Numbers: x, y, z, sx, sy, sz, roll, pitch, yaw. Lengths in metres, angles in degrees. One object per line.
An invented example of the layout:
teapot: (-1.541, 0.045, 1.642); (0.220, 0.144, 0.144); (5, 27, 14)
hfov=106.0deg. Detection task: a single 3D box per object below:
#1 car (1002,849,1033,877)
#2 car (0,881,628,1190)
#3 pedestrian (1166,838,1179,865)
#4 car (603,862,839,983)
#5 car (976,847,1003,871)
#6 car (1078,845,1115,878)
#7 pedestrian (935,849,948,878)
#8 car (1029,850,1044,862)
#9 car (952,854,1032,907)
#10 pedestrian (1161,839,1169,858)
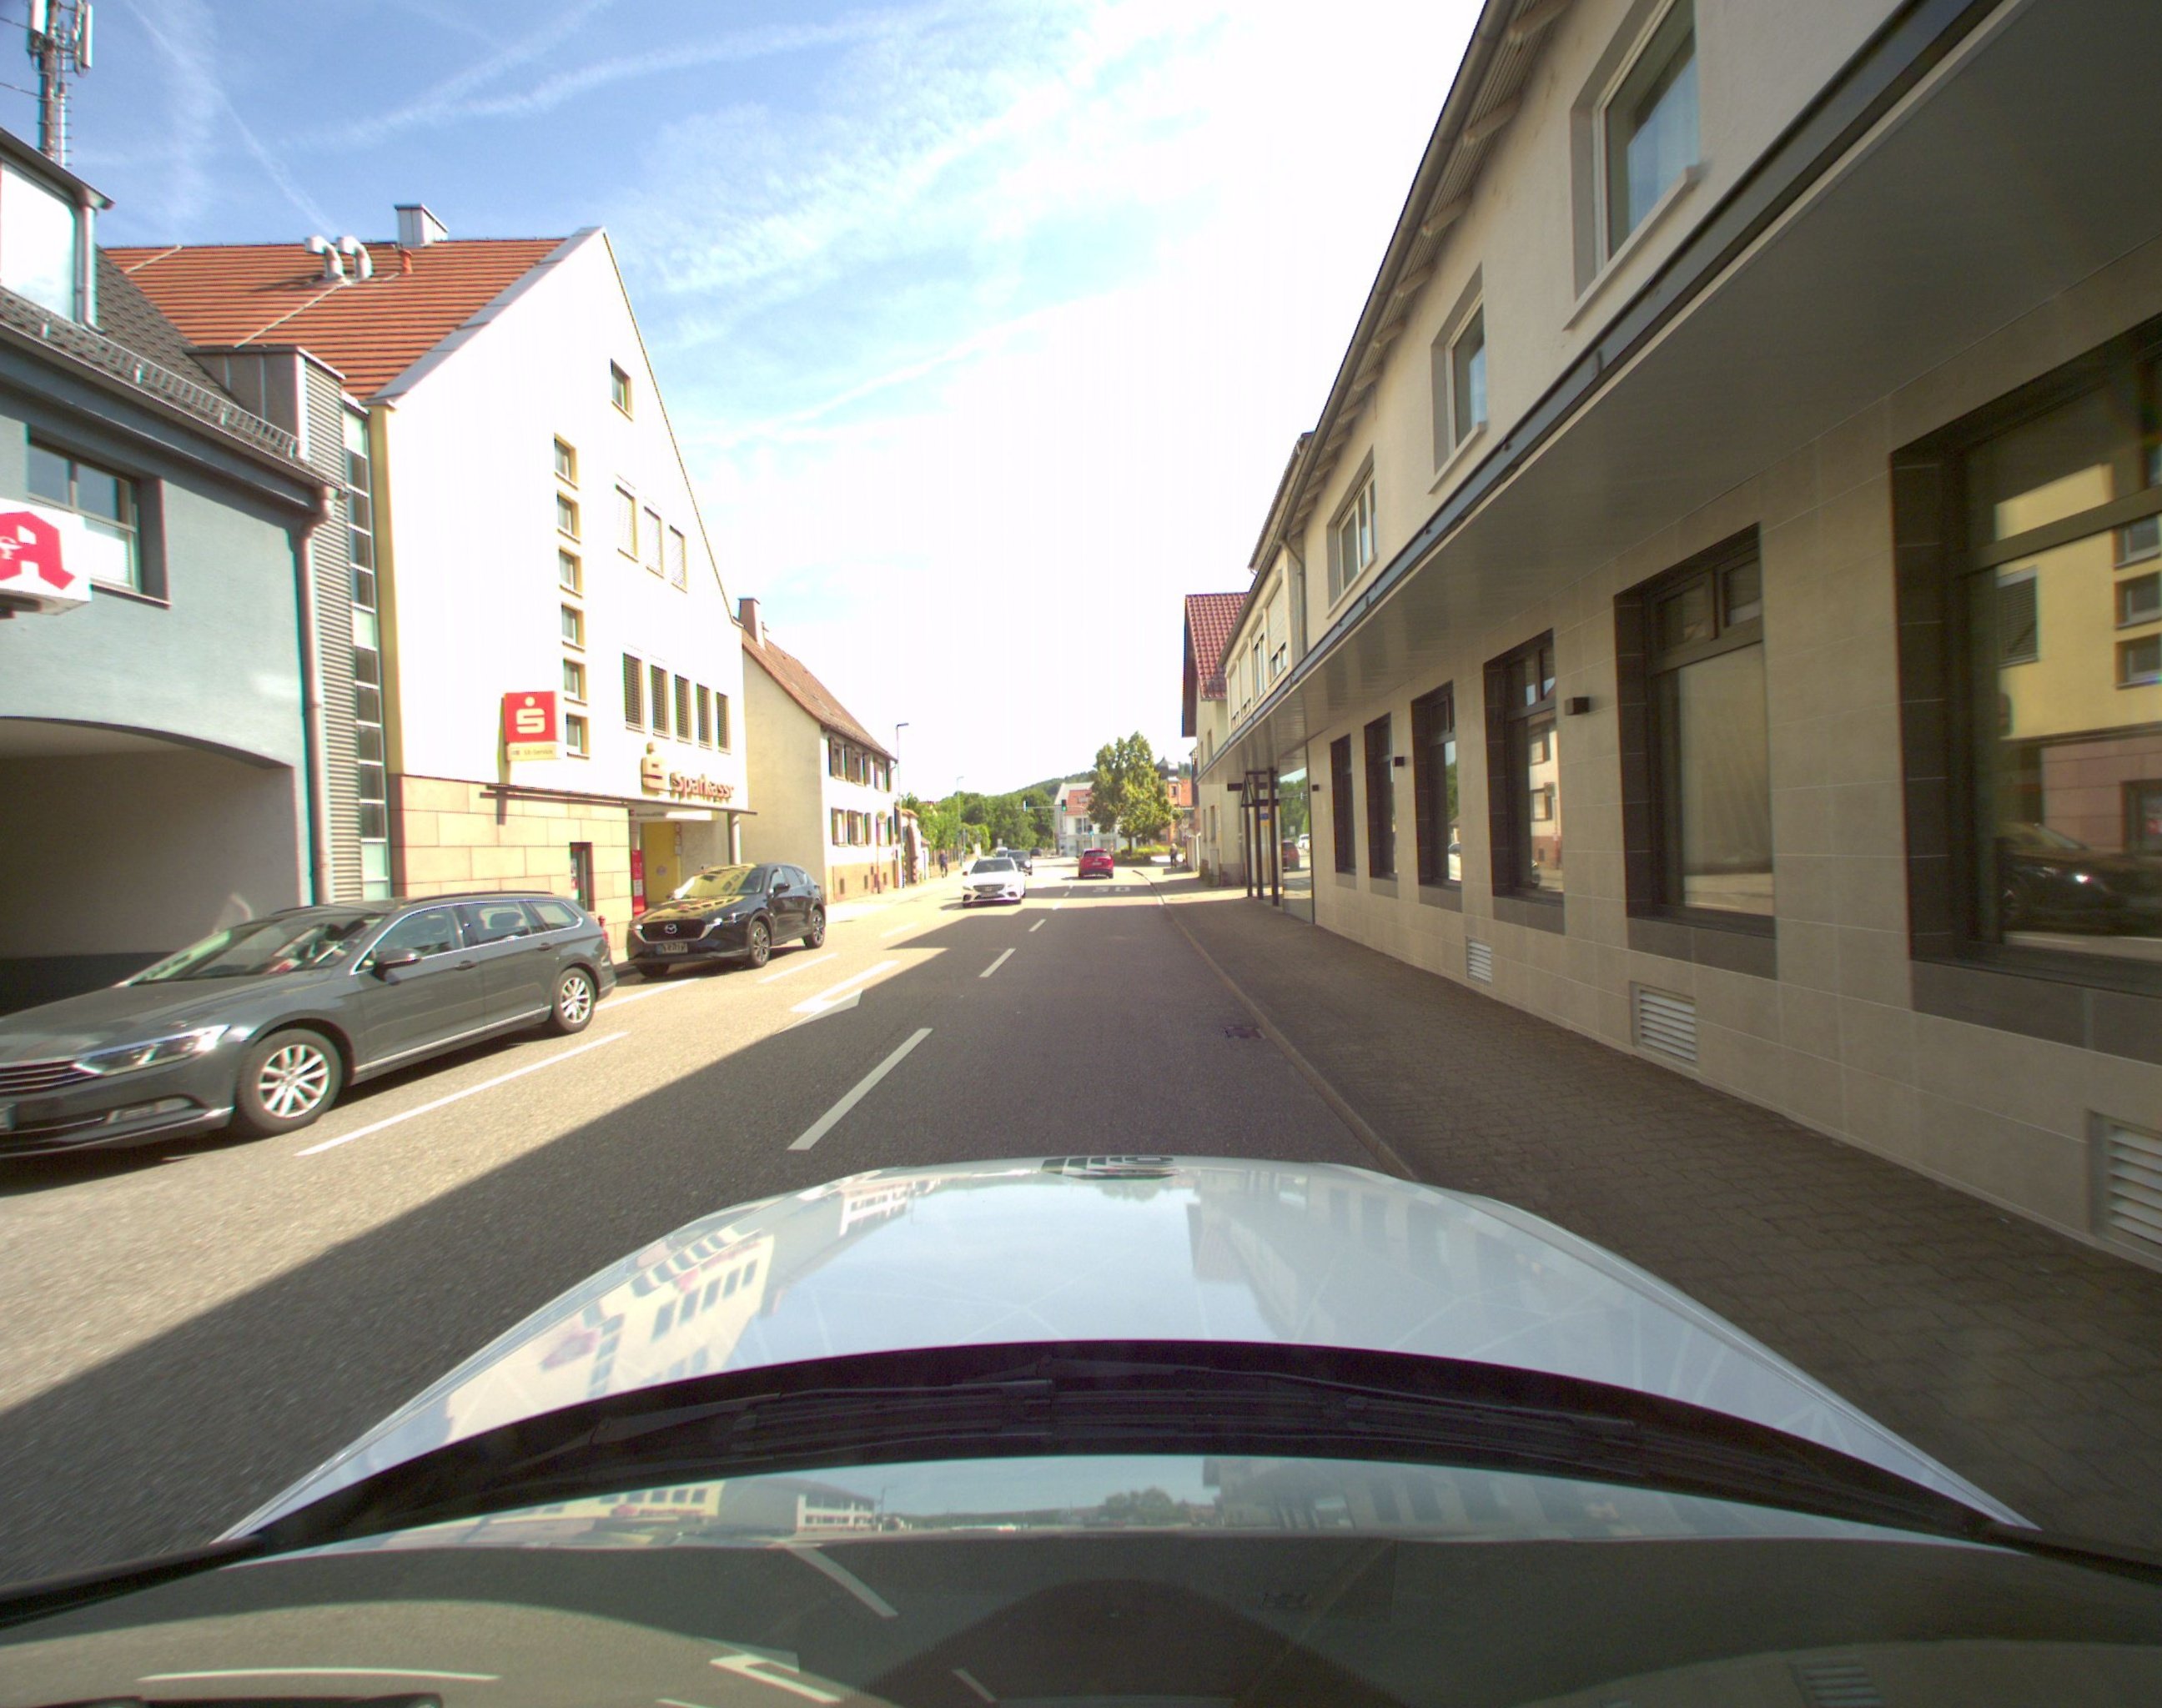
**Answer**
car: (-4.095, 0.544, 52.508); (1.836, 1.533, 4.246); (-3, 2, -5)
car: (-5.827, 1.066, 6.505); (1.783, 1.450, 4.424); (-4, 0, 1)
pedestrian: (6.058, -0.154, 53.705); (0.641, 1.707, 0.699); (-3, -2, -5)
car: (-5.834, 1.007, 13.926); (1.861, 1.589, 4.518); (-4, 0, 1)
car: (-7.681, 0.443, 68.607); (1.769, 1.785, 3.838); (-3, -2, 0)
car: (0.917, 0.401, 45.033); (1.851, 1.714, 4.425); (-2, 0, 3)
pedestrian: (-9.053, 0.640, 53.028); (0.664, 1.824, 0.797); (-3, -2, -5)
car: (-7.379, 0.355, 135.804); (1.925, 1.794, 3.957); (-3, -2, 2)
car: (-2.768, 0.810, 26.483); (1.981, 1.444, 5.099); (-3, 0, -1)
pedestrian: (8.797, -0.596, 85.381); (0.641, 1.879, 0.651); (-3, -2, -5)
